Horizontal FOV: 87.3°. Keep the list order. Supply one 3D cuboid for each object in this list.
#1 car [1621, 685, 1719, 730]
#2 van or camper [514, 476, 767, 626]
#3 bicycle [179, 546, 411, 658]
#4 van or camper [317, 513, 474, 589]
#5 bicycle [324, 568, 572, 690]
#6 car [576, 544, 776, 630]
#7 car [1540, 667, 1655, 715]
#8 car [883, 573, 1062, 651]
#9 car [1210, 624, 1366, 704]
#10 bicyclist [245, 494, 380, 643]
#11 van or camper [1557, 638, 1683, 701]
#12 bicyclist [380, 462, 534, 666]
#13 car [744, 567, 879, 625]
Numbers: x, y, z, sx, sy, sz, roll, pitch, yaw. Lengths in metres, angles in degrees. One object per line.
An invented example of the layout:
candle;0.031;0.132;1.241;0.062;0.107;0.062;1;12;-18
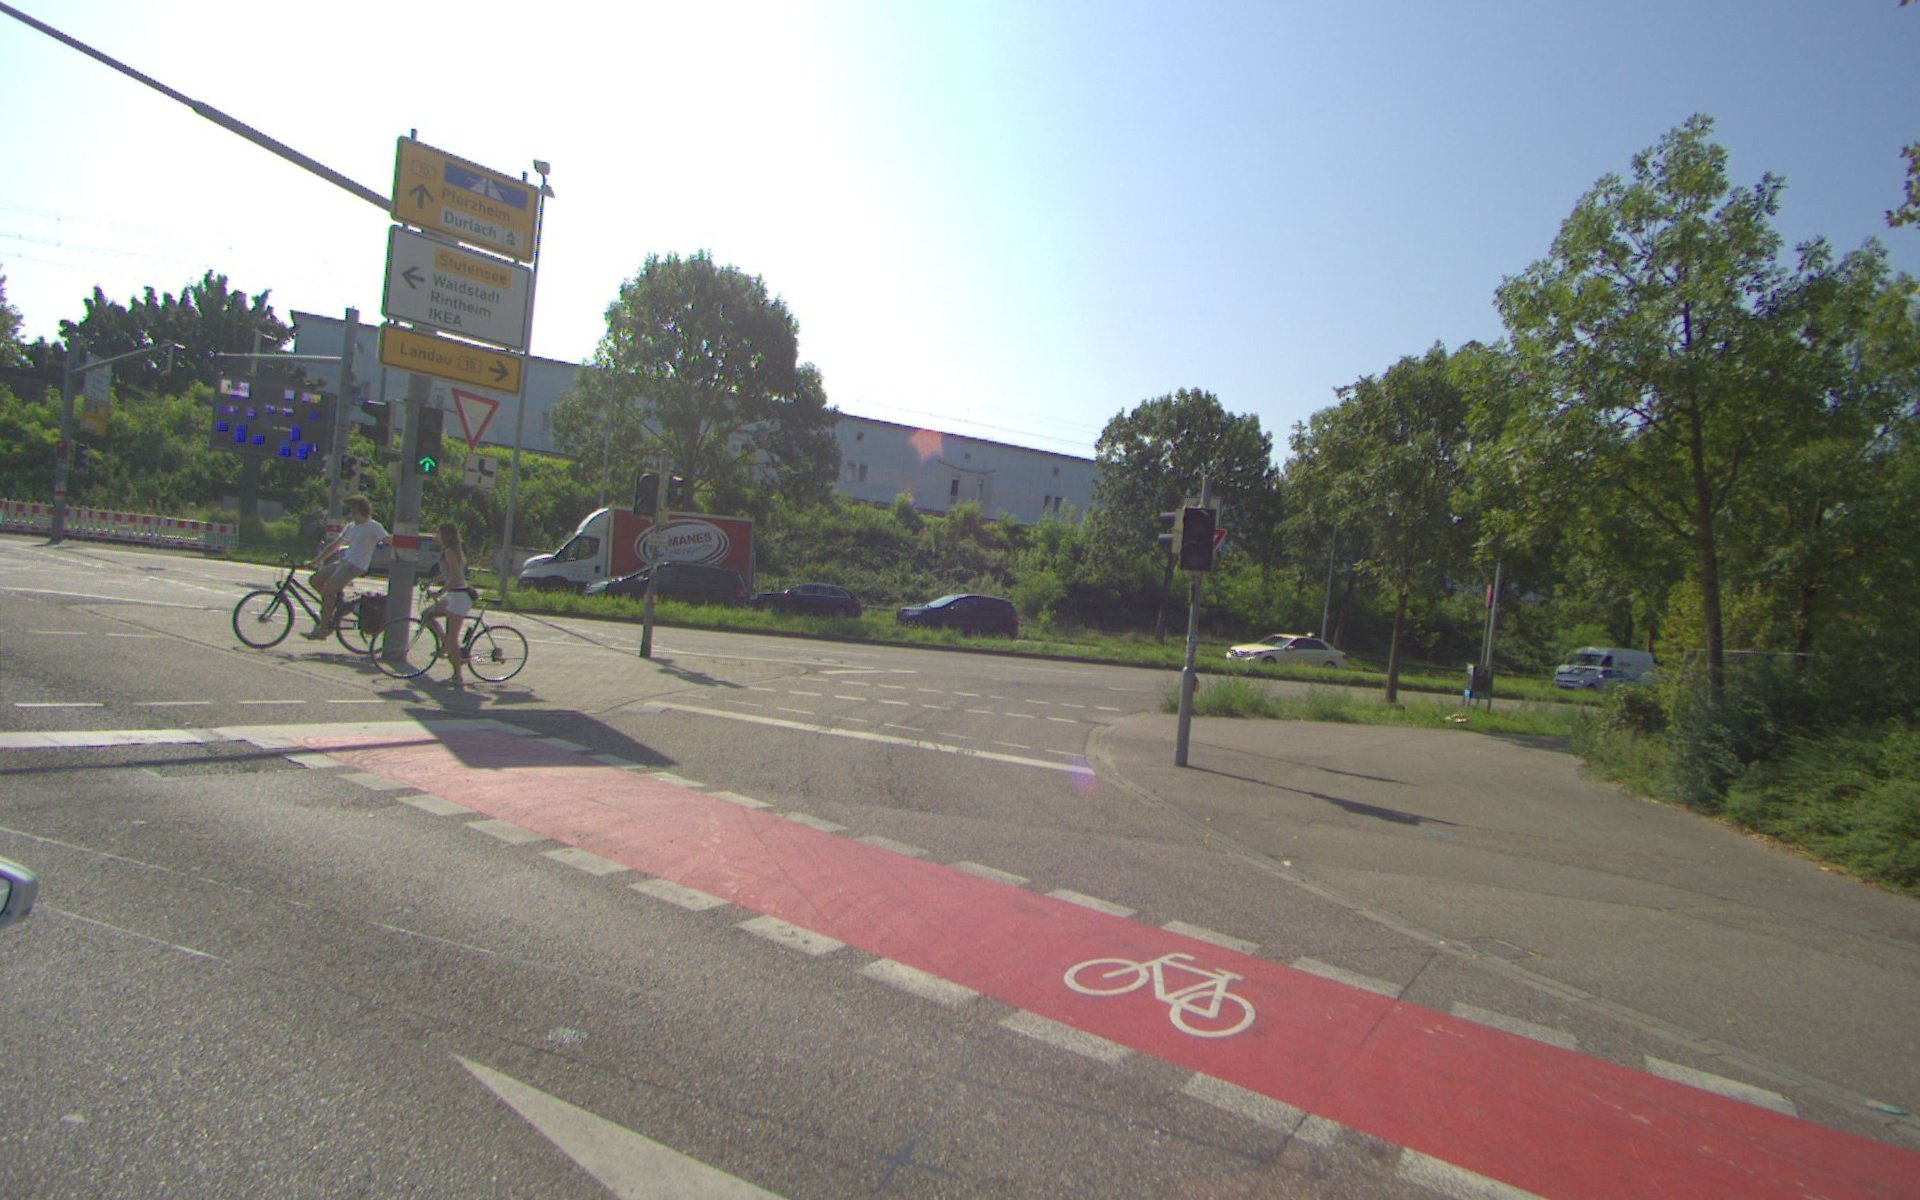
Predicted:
car;31.483;4.766;44.619;3.703;1.414;1.650;8;-2;-20
van or camper;-9.644;-1.357;30.652;6.759;3.401;2.239;8;-1;-22
bicycle;-7.966;0.046;12.150;2.200;1.100;0.766;7;-1;-35
van or camper;-18.499;-1.562;33.194;4.120;1.797;1.843;8;-2;-23
bicycle;-5.590;0.351;11.090;2.246;1.100;0.764;8;-1;-41
car;-7.979;-0.336;28.299;5.126;1.631;1.898;8;-2;-22
car;30.925;4.396;48.823;4.908;1.627;2.157;8;-2;-21
car;0.395;0.402;32.208;5.153;1.760;2.136;8;-2;-22
car;12.265;2.389;37.658;5.153;2.287;2.239;8;-2;-21
bicyclist;-7.862;-0.363;12.243;1.194;1.612;0.592;8;-1;-35
van or camper;35.964;3.784;54.755;6.778;2.511;2.238;8;-2;-24
bicyclist;-5.513;-0.367;11.059;1.196;2.037;0.591;8;-1;-40
car;-5.740;-0.132;38.925;4.702;1.555;2.079;8;-2;-21
